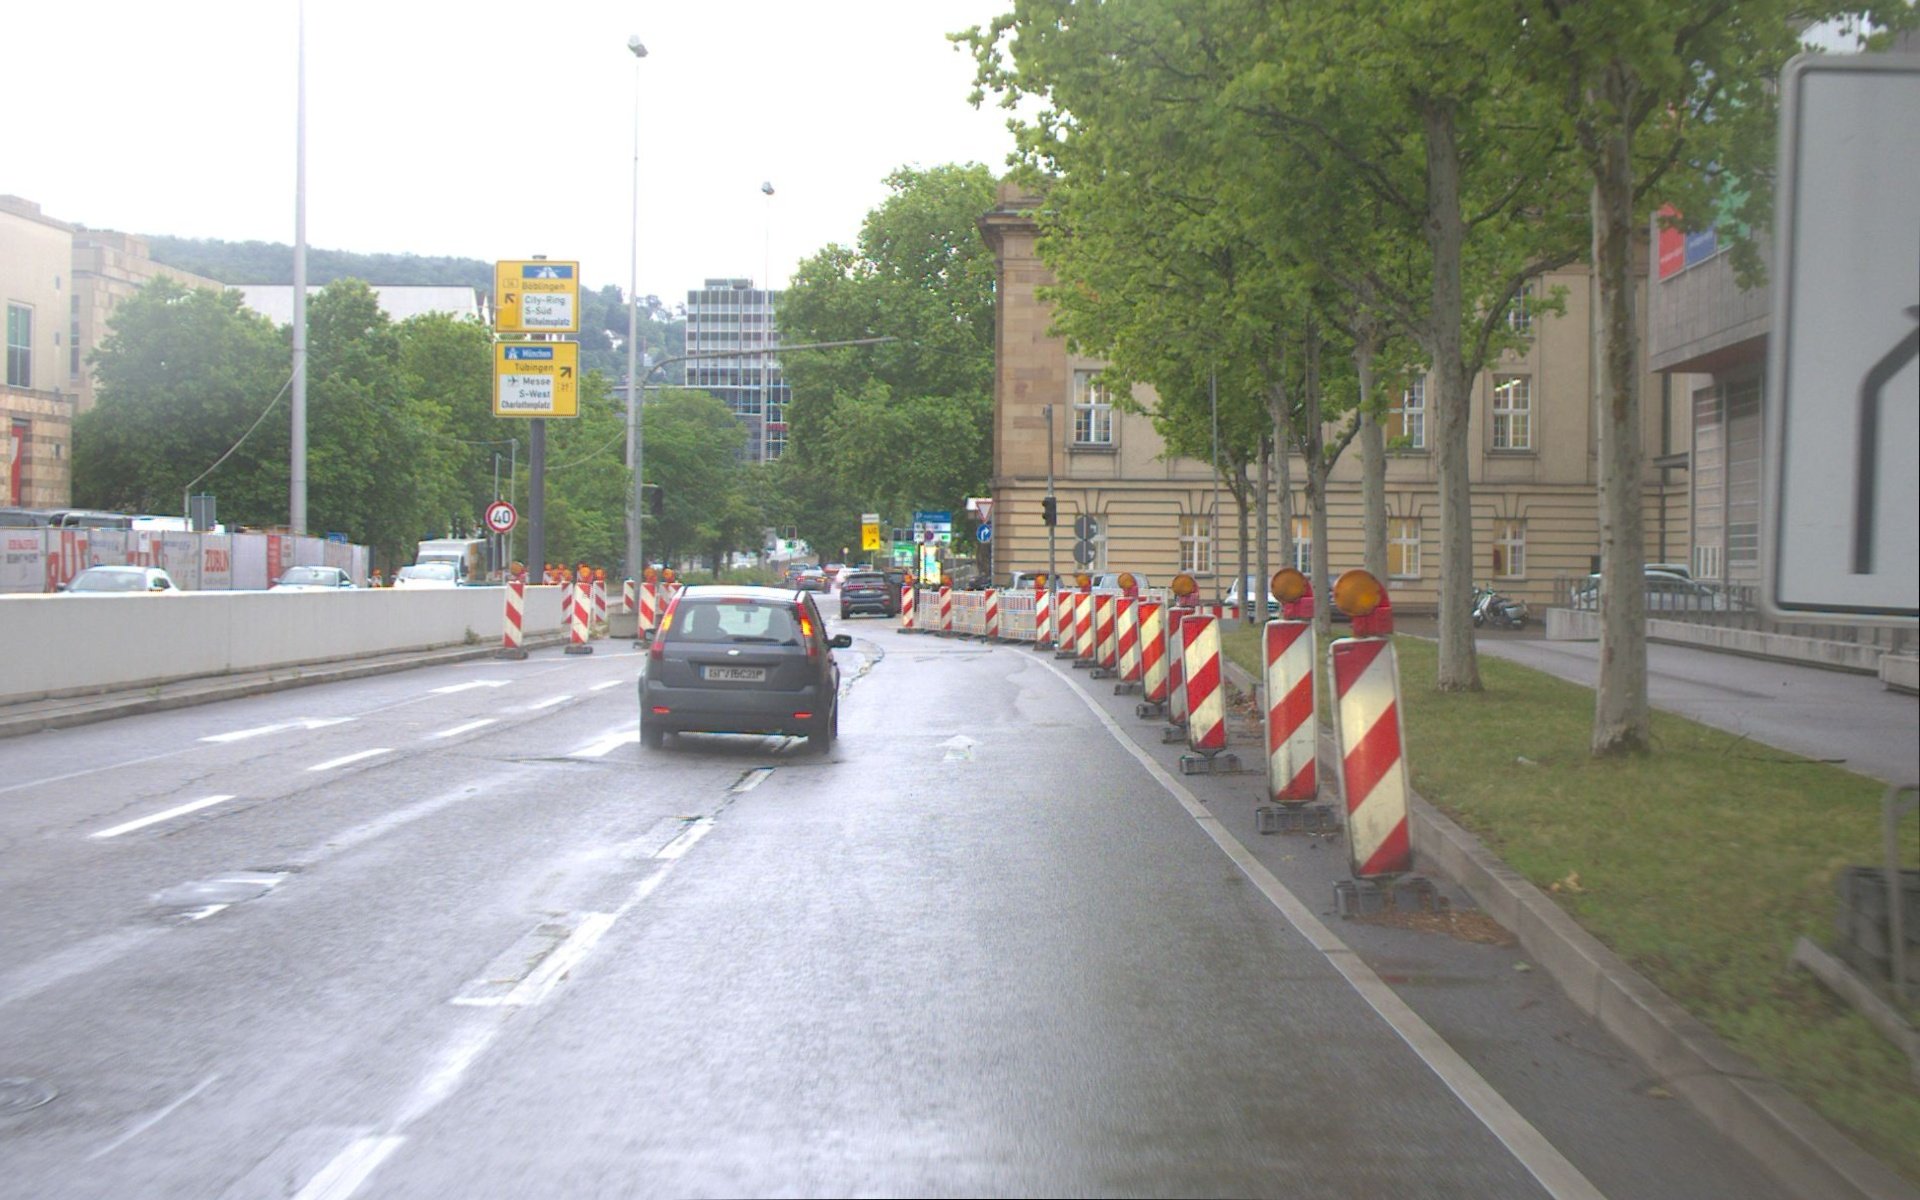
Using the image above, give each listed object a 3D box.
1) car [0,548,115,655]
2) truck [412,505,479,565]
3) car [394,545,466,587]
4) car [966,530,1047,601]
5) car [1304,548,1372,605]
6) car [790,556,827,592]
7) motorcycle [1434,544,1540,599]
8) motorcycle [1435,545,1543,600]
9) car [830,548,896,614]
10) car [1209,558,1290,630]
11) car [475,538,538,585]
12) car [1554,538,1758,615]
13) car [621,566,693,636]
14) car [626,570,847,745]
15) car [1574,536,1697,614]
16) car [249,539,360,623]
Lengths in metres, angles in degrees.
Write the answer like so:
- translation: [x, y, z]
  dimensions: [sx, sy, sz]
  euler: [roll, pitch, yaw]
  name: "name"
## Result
- translation: [-18.225, 0.003, 67.970]
  dimensions: [1.993, 2.007, 4.000]
  euler: [2, 0, 0]
  name: "car"
- translation: [-22.399, -2.818, 149.876]
  dimensions: [2.413, 2.331, 5.445]
  euler: [3, -1, -5]
  name: "truck"
- translation: [-15.963, -1.036, 103.633]
  dimensions: [1.626, 1.191, 3.405]
  euler: [3, 1, 0]
  name: "car"
- translation: [1.190, -0.912, 89.469]
  dimensions: [1.993, 1.702, 4.000]
  euler: [2, 2, 0]
  name: "car"
- translation: [12.059, -0.744, 109.779]
  dimensions: [1.994, 1.703, 3.999]
  euler: [2, 0, 5]
  name: "car"
- translation: [-9.130, -1.580, 207.173]
  dimensions: [1.993, 2.007, 4.000]
  euler: [3, -1, -4]
  name: "car"
- translation: [16.469, -0.882, 107.574]
  dimensions: [3.162, 1.538, 0.889]
  euler: [3, -1, 5]
  name: "motorcycle"
- translation: [16.389, -0.859, 106.548]
  dimensions: [3.162, 1.538, 0.889]
  euler: [3, -1, 4]
  name: "motorcycle"
- translation: [-3.162, -0.637, 112.994]
  dimensions: [1.993, 2.006, 4.000]
  euler: [2, 2, 0]
  name: "car"
- translation: [7.482, -0.180, 88.798]
  dimensions: [1.994, 1.702, 4.000]
  euler: [2, 2, 5]
  name: "car"
- translation: [-15.671, -1.315, 118.914]
  dimensions: [1.668, 1.517, 4.000]
  euler: [3, 0, -1]
  name: "car"
- translation: [14.886, -0.496, 73.718]
  dimensions: [3.987, 1.554, 1.933]
  euler: [-1, -2, 1]
  name: "car"
- translation: [-6.065, 0.006, 68.982]
  dimensions: [1.385, 1.382, 3.067]
  euler: [0, 0, -4]
  name: "car"
- translation: [-1.925, 0.465, 30.583]
  dimensions: [1.670, 1.422, 3.758]
  euler: [1, 1, 0]
  name: "car"
- translation: [15.994, -0.567, 81.649]
  dimensions: [1.993, 1.754, 5.096]
  euler: [1, 0, 1]
  name: "car"
- translation: [-16.655, -0.502, 87.460]
  dimensions: [1.993, 2.007, 4.000]
  euler: [3, 1, 0]
  name: "car"
